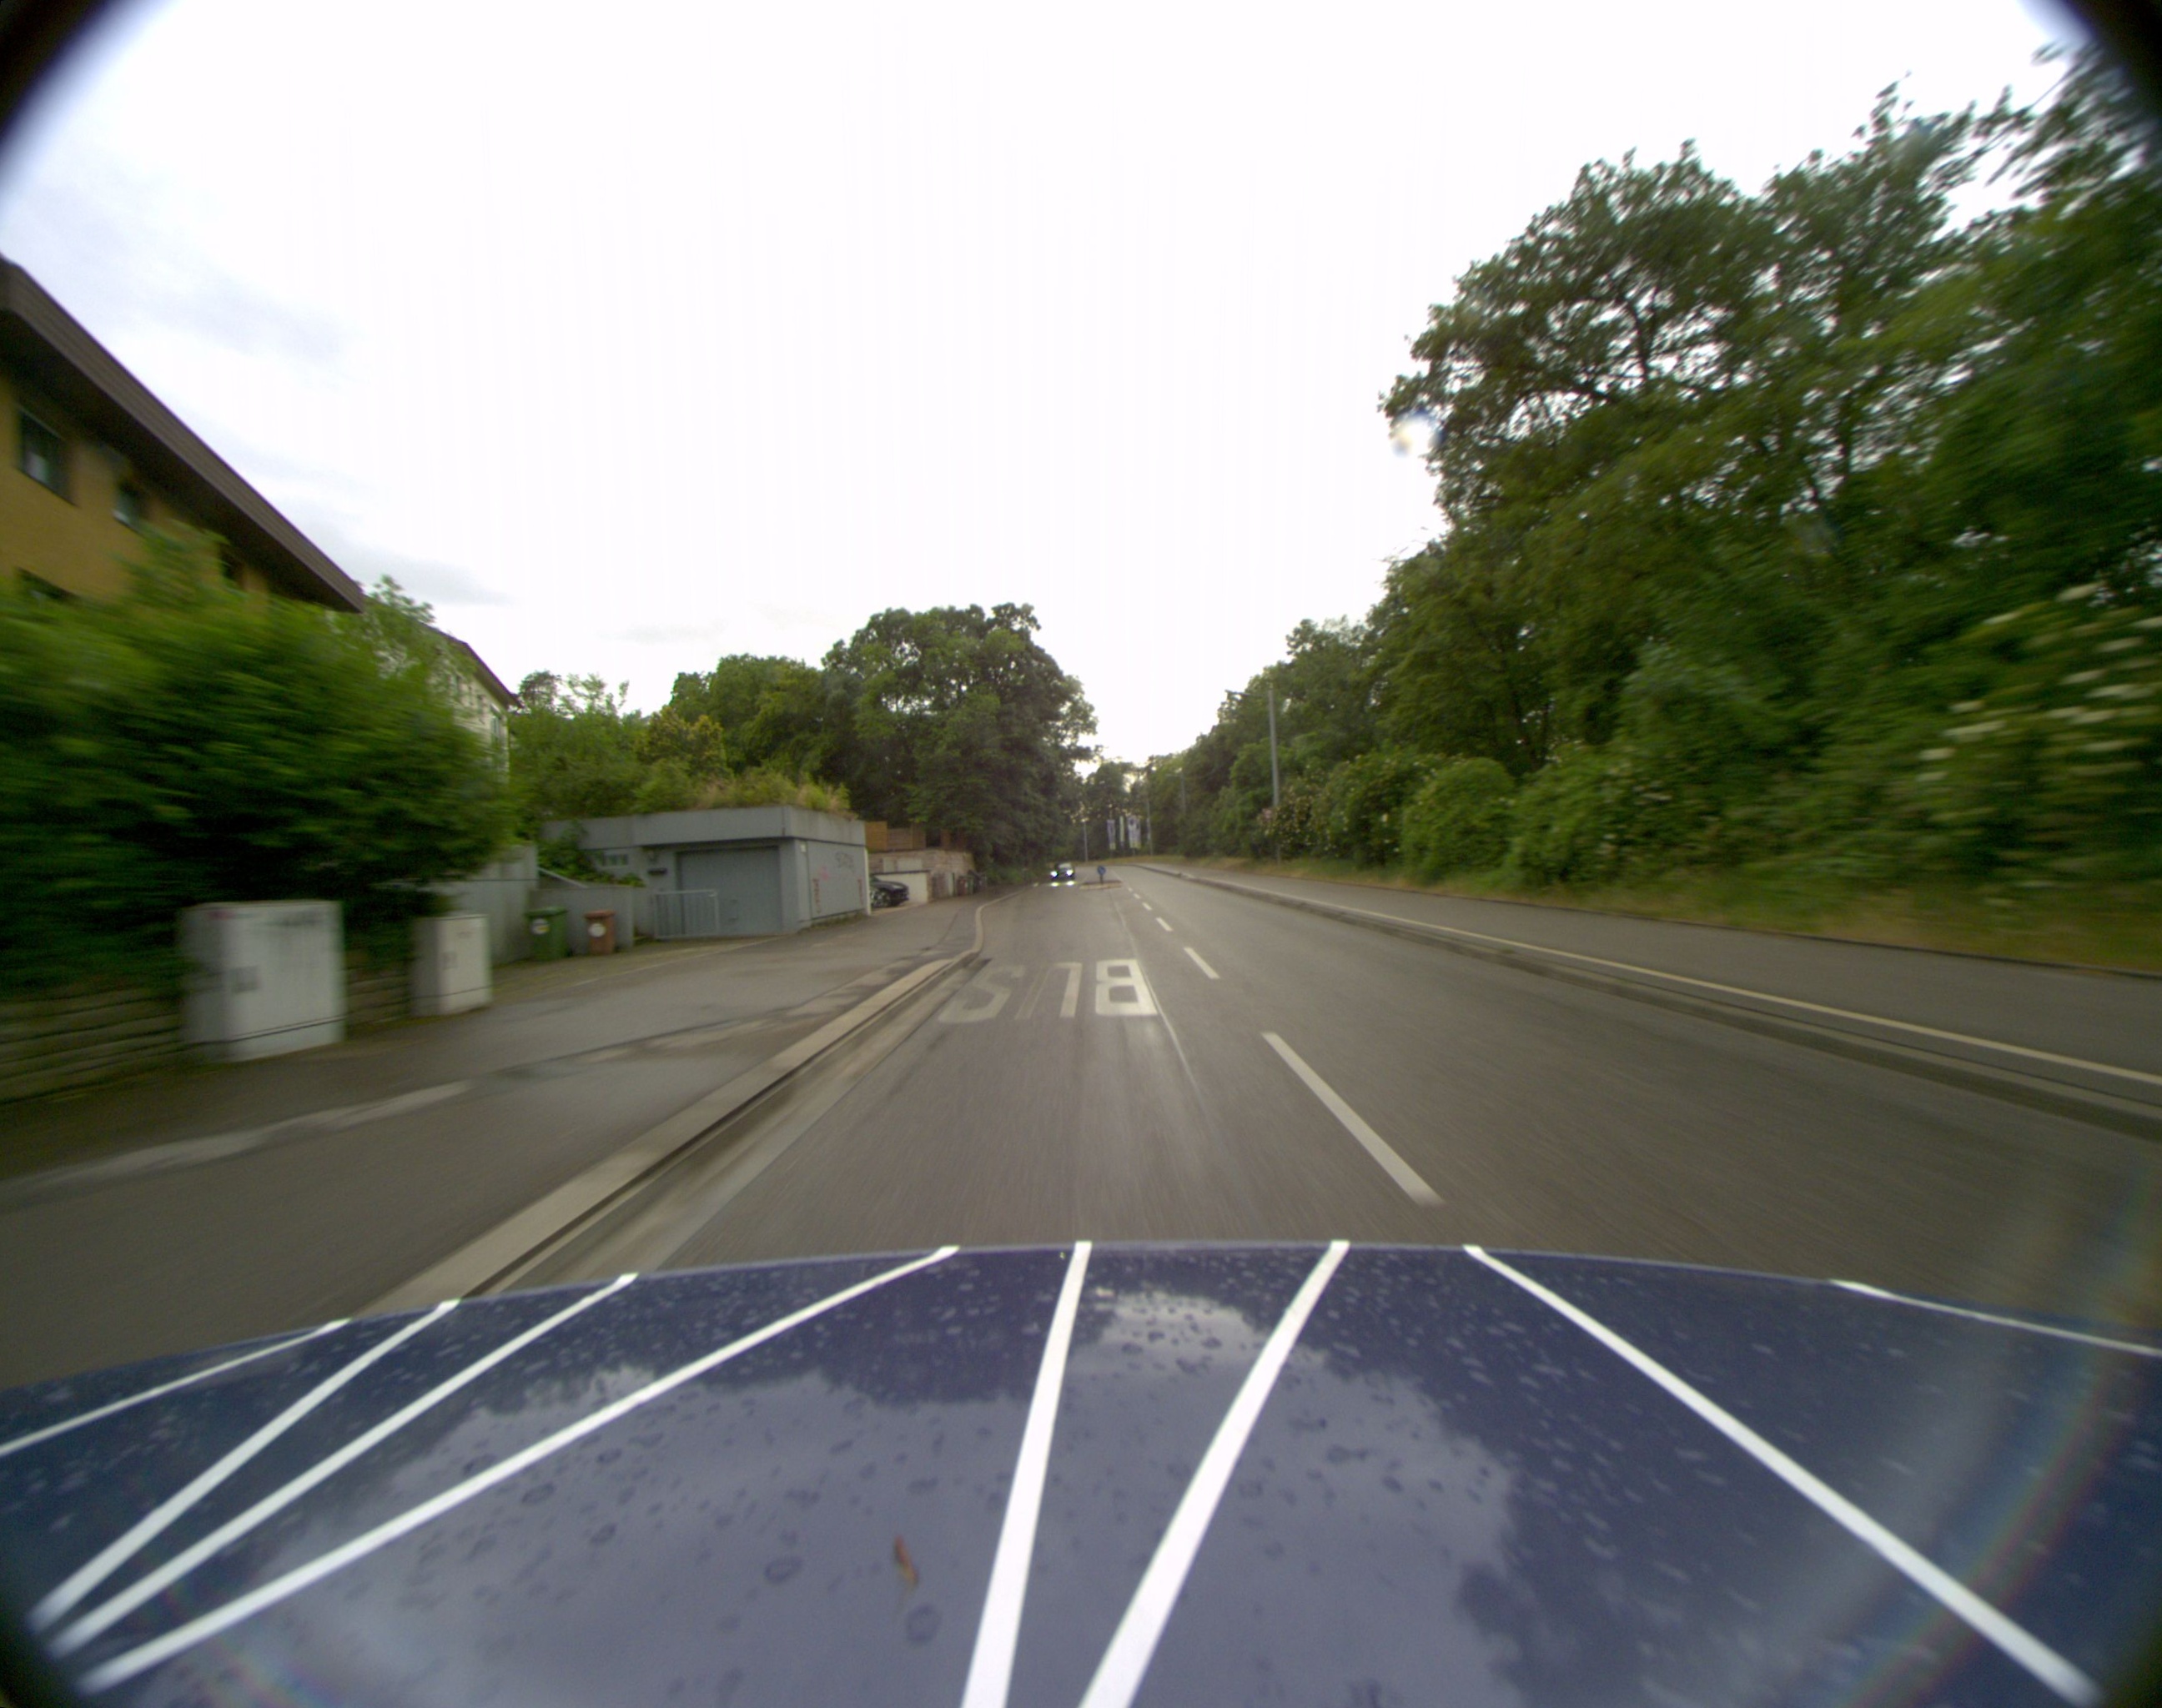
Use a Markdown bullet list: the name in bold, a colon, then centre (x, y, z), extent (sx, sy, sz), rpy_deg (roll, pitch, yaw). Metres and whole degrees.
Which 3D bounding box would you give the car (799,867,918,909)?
- **car**: centre (-8.949, 1.354, 30.816), extent (4.228, 1.498, 1.895), rpy_deg (-2, 0, 1)

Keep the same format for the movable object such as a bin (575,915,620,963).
- **movable object such as a bin**: centre (-9.903, 1.735, 15.567), extent (0.528, 0.901, 0.565), rpy_deg (-3, 0, -4)

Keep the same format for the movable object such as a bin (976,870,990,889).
- **movable object such as a bin**: centre (-5.752, 1.474, 44.636), extent (0.666, 1.062, 0.701), rpy_deg (-4, 0, 2)

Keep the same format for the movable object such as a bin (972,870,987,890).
- **movable object such as a bin**: centre (-5.751, 1.478, 43.077), extent (0.666, 1.062, 0.659), rpy_deg (-4, 0, 2)

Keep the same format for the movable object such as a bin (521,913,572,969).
- **movable object such as a bin**: centre (-10.709, 1.735, 15.246), extent (0.528, 1.030, 0.636), rpy_deg (-3, 0, -4)

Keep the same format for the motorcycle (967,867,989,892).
- **motorcycle**: centre (-5.593, 1.396, 41.515), extent (0.777, 1.237, 2.013), rpy_deg (-4, 0, 2)

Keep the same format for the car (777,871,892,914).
- **car**: centre (-9.098, 1.394, 28.229), extent (3.644, 1.417, 1.836), rpy_deg (-2, 0, 0)

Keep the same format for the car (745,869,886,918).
- **car**: centre (-8.949, 1.319, 25.843), extent (4.043, 1.506, 1.960), rpy_deg (-1, -1, 5)

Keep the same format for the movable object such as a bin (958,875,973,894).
- **movable object such as a bin**: centre (-5.950, 1.567, 39.185), extent (0.570, 0.931, 0.549), rpy_deg (-4, 0, 2)

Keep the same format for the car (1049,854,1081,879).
- **car**: centre (-1.183, 0.959, 59.320), extent (1.998, 1.714, 4.001), rpy_deg (-3, 0, 5)

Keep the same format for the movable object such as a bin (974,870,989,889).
- **movable object such as a bin**: centre (-5.762, 1.475, 43.890), extent (0.666, 1.062, 0.659), rpy_deg (-4, 0, 2)

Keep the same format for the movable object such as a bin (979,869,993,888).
- **movable object such as a bin**: centre (-5.699, 1.473, 45.458), extent (0.666, 1.062, 0.701), rpy_deg (-4, 0, 2)

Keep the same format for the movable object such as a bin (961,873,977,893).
- **movable object such as a bin**: centre (-5.863, 1.516, 39.925), extent (0.666, 0.999, 0.659), rpy_deg (-4, 0, 2)
